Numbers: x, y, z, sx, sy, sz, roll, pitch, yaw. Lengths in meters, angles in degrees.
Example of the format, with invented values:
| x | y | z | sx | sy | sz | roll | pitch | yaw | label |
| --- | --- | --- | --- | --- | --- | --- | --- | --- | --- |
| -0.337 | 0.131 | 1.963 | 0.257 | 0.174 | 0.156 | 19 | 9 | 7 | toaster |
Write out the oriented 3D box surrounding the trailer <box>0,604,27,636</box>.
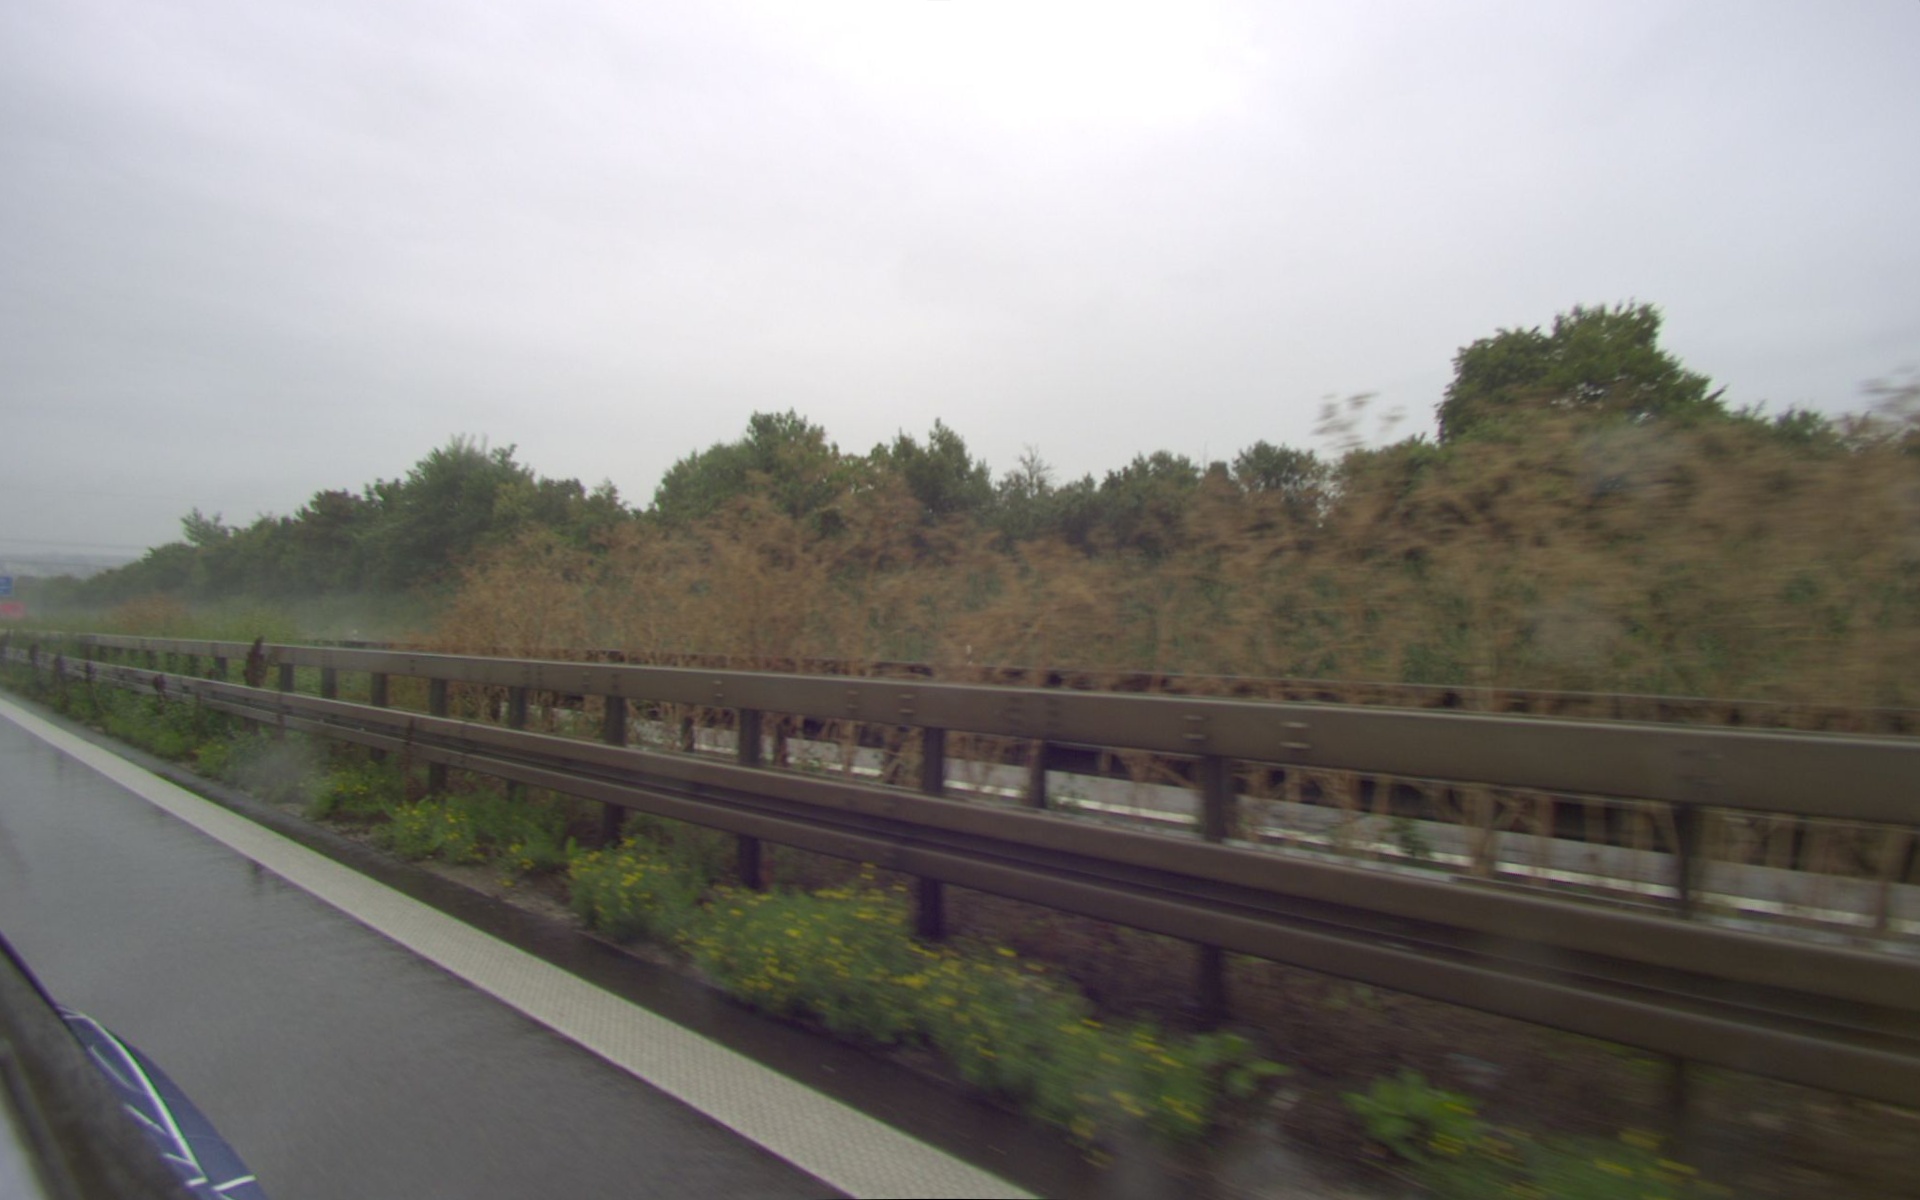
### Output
| x | y | z | sx | sy | sz | roll | pitch | yaw | label |
| --- | --- | --- | --- | --- | --- | --- | --- | --- | --- |
| -133.844 | 2.807 | 142.499 | 8.485 | 4.262 | 2.669 | -1 | 0 | 41 | trailer |
